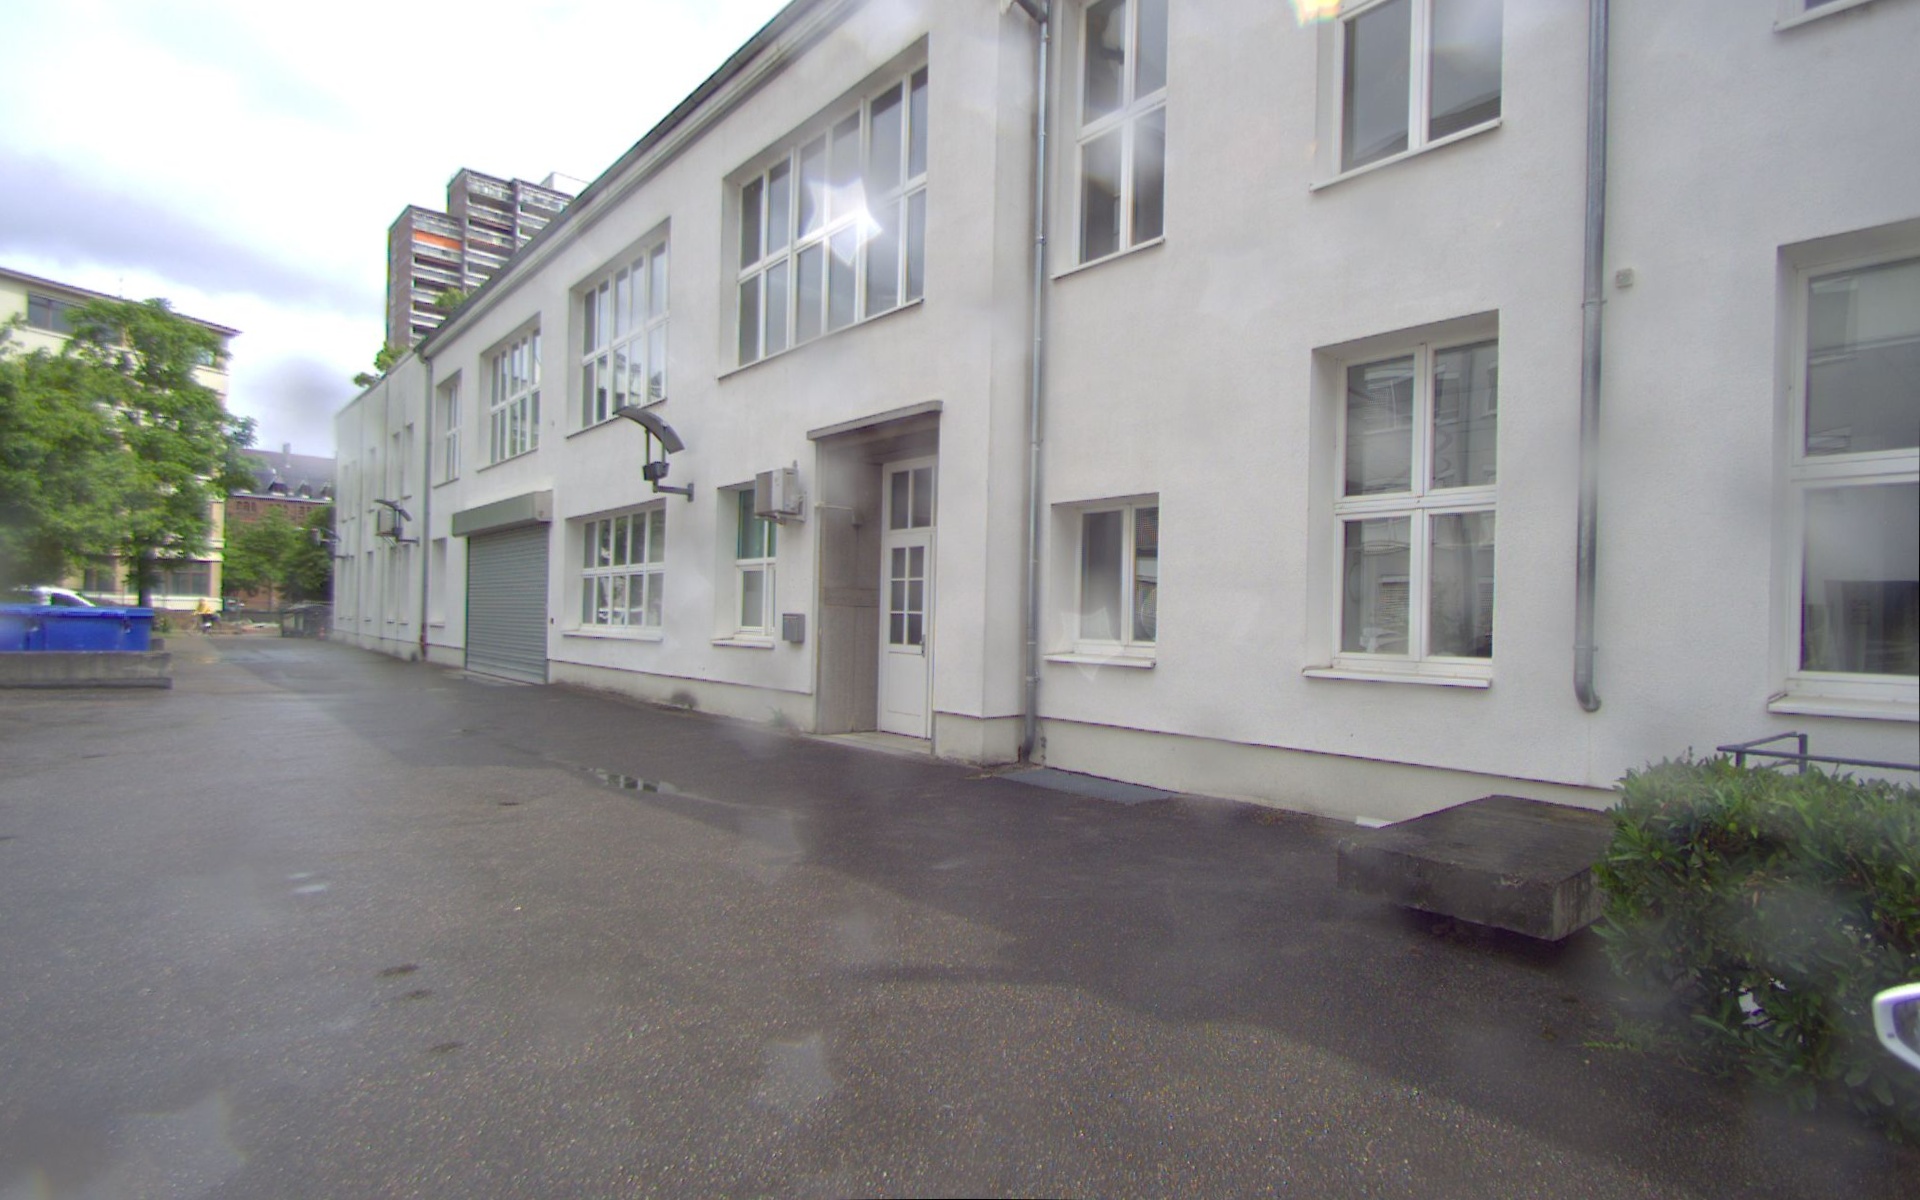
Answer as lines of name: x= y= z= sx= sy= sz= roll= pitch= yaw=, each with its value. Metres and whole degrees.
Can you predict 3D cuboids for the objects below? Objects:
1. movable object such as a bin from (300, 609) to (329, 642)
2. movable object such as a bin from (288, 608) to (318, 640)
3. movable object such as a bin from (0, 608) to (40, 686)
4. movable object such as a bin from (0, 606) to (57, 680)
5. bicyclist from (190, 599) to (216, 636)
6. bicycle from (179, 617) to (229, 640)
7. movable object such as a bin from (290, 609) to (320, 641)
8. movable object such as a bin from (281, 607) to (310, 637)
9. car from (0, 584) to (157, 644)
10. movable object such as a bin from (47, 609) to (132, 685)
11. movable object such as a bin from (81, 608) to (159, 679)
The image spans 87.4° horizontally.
movable object such as a bin: x=-27.629 y=1.105 z=43.008 sx=0.970 sy=1.374 sz=0.909 roll=1 pitch=0 yaw=-37
movable object such as a bin: x=-29.612 y=1.072 z=45.251 sx=1.053 sy=1.374 sz=1.205 roll=1 pitch=0 yaw=-37
movable object such as a bin: x=-17.148 y=0.817 z=17.795 sx=1.121 sy=1.346 sz=1.195 roll=1 pitch=0 yaw=-37
movable object such as a bin: x=-18.079 y=0.804 z=19.174 sx=1.121 sy=1.346 sz=1.195 roll=1 pitch=0 yaw=-37
bicyclist: x=-34.705 y=0.781 z=46.074 sx=0.654 sy=1.672 sz=0.651 roll=1 pitch=0 yaw=9
bicycle: x=-34.707 y=1.302 z=46.141 sx=0.657 sy=0.994 sz=1.879 roll=1 pitch=0 yaw=9
movable object such as a bin: x=-28.793 y=1.085 z=44.162 sx=1.036 sy=1.374 sz=1.195 roll=1 pitch=0 yaw=-37
movable object such as a bin: x=-31.443 y=1.044 z=47.526 sx=1.056 sy=1.374 sz=1.251 roll=1 pitch=0 yaw=-37
car: x=-27.637 y=0.441 z=31.027 sx=4.292 sy=1.750 sz=1.705 roll=2 pitch=0 yaw=-36
movable object such as a bin: x=-16.128 y=0.854 z=18.646 sx=1.085 sy=1.343 sz=1.195 roll=1 pitch=0 yaw=-37
movable object such as a bin: x=-16.923 y=0.855 z=20.274 sx=1.121 sy=1.346 sz=1.195 roll=1 pitch=0 yaw=-37
